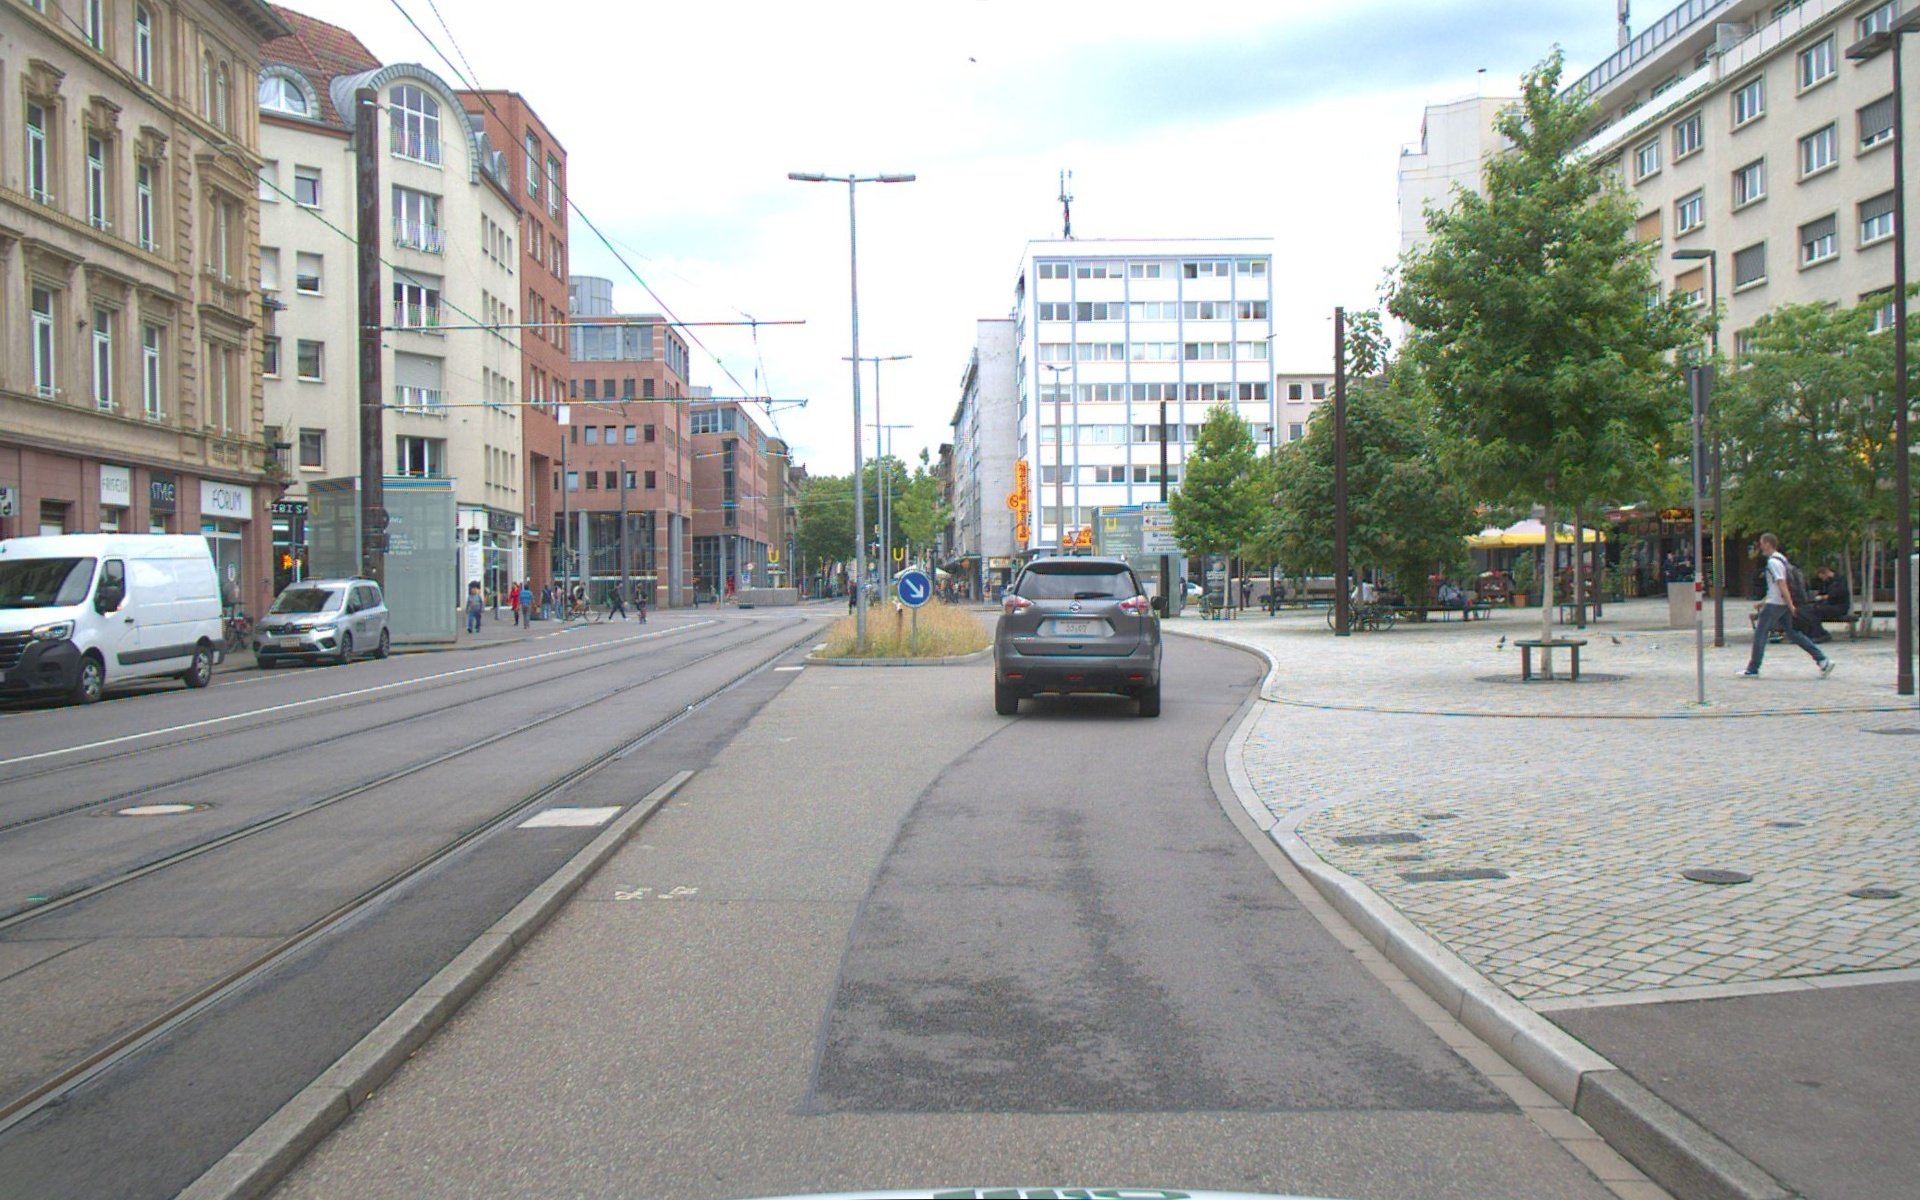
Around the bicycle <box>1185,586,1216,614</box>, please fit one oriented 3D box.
[{"bbox_3d":[8.919,-0.007,61.339,0.645,0.995,1.753,-1,0,26],"label":"bicycle"}]

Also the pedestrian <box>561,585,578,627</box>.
[{"bbox_3d":[-18.343,0.278,77.704,0.598,1.923,0.798,-1,-1,-5],"label":"pedestrian"}]

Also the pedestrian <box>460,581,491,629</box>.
[{"bbox_3d":[-17.624,0.178,60.158,0.705,1.716,0.825,-2,-1,17],"label":"pedestrian"}]

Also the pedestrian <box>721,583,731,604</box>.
[{"bbox_3d":[-20.888,-0.590,147.849,0.685,1.874,0.735,0,0,11],"label":"pedestrian"}]

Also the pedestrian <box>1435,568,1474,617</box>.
[{"bbox_3d":[14.238,-0.230,47.656,0.615,1.390,1.409,0,0,-3],"label":"pedestrian"}]

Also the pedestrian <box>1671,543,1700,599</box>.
[{"bbox_3d":[25.038,-0.987,57.100,0.760,1.918,0.849,0,0,36],"label":"pedestrian"}]

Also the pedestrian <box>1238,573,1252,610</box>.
[{"bbox_3d":[13.969,-0.428,81.011,0.657,1.792,0.642,0,0,13],"label":"pedestrian"}]

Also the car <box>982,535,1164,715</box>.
[{"bbox_3d":[1.426,0.242,19.165,1.823,1.806,4.570,1,0,7],"label":"car"}]

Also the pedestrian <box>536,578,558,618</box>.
[{"bbox_3d":[-17.998,-0.089,72.111,0.855,1.716,0.659,-1,-1,-17],"label":"pedestrian"}]

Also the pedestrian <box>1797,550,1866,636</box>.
[{"bbox_3d":[15.647,-0.127,29.692,0.770,1.480,0.760,-4,0,-32],"label":"pedestrian"}]

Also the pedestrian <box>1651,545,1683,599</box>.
[{"bbox_3d":[24.043,-0.954,56.236,0.760,1.782,0.715,-3,0,36],"label":"pedestrian"}]

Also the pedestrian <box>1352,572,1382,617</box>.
[{"bbox_3d":[12.468,-0.171,50.661,0.619,1.390,0.683,0,0,-21],"label":"pedestrian"}]

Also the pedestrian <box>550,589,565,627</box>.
[{"bbox_3d":[-18.197,0.373,74.733,0.558,1.713,0.798,0,-1,-7],"label":"pedestrian"}]

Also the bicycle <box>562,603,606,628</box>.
[{"bbox_3d":[-16.787,0.700,73.837,1.865,1.039,0.478,-2,0,7],"label":"bicycle"}]

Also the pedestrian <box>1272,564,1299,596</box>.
[{"bbox_3d":[14.213,-0.868,72.202,1.022,1.319,0.733,-3,0,3],"label":"pedestrian"}]

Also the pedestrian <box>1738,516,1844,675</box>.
[{"bbox_3d":[10.430,-0.062,20.782,0.852,1.934,0.772,-2,1,-4],"label":"pedestrian"}]

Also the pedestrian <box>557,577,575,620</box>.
[{"bbox_3d":[-15.967,-0.066,66.978,0.649,1.716,0.720,-1,-1,-15],"label":"pedestrian"}]

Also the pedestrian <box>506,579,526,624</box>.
[{"bbox_3d":[-17.328,0.072,64.567,0.708,1.716,0.660,-1,-1,-13],"label":"pedestrian"}]

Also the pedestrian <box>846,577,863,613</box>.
[{"bbox_3d":[-5.061,-0.229,79.393,0.729,1.713,0.798,0,-1,-7],"label":"pedestrian"}]

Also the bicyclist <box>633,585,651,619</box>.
[{"bbox_3d":[-13.700,0.074,71.285,0.475,1.431,0.802,-2,0,-35],"label":"bicyclist"}]

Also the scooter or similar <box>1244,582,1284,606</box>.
[{"bbox_3d":[13.335,-0.255,72.563,1.560,0.965,0.722,-3,0,36],"label":"scooter or similar"}]

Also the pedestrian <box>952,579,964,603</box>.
[{"bbox_3d":[-0.156,-0.641,119.969,0.719,1.776,0.661,0,0,-10],"label":"pedestrian"}]

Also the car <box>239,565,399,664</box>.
[{"bbox_3d":[-13.710,0.283,35.652,1.865,1.897,4.517,-3,0,-4],"label":"car"}]

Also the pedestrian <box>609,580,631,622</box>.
[{"bbox_3d":[-15.877,0.052,77.201,0.879,1.923,0.798,0,-1,-5],"label":"pedestrian"}]

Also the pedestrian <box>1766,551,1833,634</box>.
[{"bbox_3d":[15.494,-0.136,30.541,0.770,1.480,0.760,-4,0,-32],"label":"pedestrian"}]

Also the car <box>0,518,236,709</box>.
[{"bbox_3d":[-13.211,0.196,25.193,2.012,2.530,5.662,-3,1,-3],"label":"car"}]

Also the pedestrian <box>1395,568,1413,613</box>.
[{"bbox_3d":[13.839,-0.296,51.531,0.531,1.390,1.281,0,0,15],"label":"pedestrian"}]

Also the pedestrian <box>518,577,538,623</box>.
[{"bbox_3d":[-16.450,0.005,63.030,0.648,1.716,0.720,-1,-1,-12],"label":"pedestrian"}]

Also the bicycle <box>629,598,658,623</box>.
[{"bbox_3d":[-13.637,0.469,71.206,0.475,1.039,1.888,-2,0,-35],"label":"bicycle"}]

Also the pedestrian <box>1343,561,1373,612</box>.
[{"bbox_3d":[14.792,-0.485,61.450,0.699,1.833,1.077,-4,0,-3],"label":"pedestrian"}]

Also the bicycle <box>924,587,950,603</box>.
[{"bbox_3d":[-1.695,-0.368,120.550,1.837,1.192,0.528,0,0,-17],"label":"bicycle"}]

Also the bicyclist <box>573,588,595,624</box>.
[{"bbox_3d":[-16.788,0.262,73.810,0.792,1.567,0.493,-2,0,8],"label":"bicyclist"}]

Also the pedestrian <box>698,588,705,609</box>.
[{"bbox_3d":[-19.758,-0.127,126.520,0.442,1.559,0.519,0,0,-20],"label":"pedestrian"}]

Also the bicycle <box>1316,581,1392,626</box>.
[{"bbox_3d":[10.212,0.088,42.955,1.873,1.142,0.646,0,0,8],"label":"bicycle"}]

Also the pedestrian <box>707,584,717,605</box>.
[{"bbox_3d":[-22.012,-0.511,146.646,0.723,1.874,0.696,0,0,-27],"label":"pedestrian"}]

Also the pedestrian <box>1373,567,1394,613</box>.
[{"bbox_3d":[13.108,-0.307,51.143,0.614,1.390,0.920,0,0,15],"label":"pedestrian"}]
